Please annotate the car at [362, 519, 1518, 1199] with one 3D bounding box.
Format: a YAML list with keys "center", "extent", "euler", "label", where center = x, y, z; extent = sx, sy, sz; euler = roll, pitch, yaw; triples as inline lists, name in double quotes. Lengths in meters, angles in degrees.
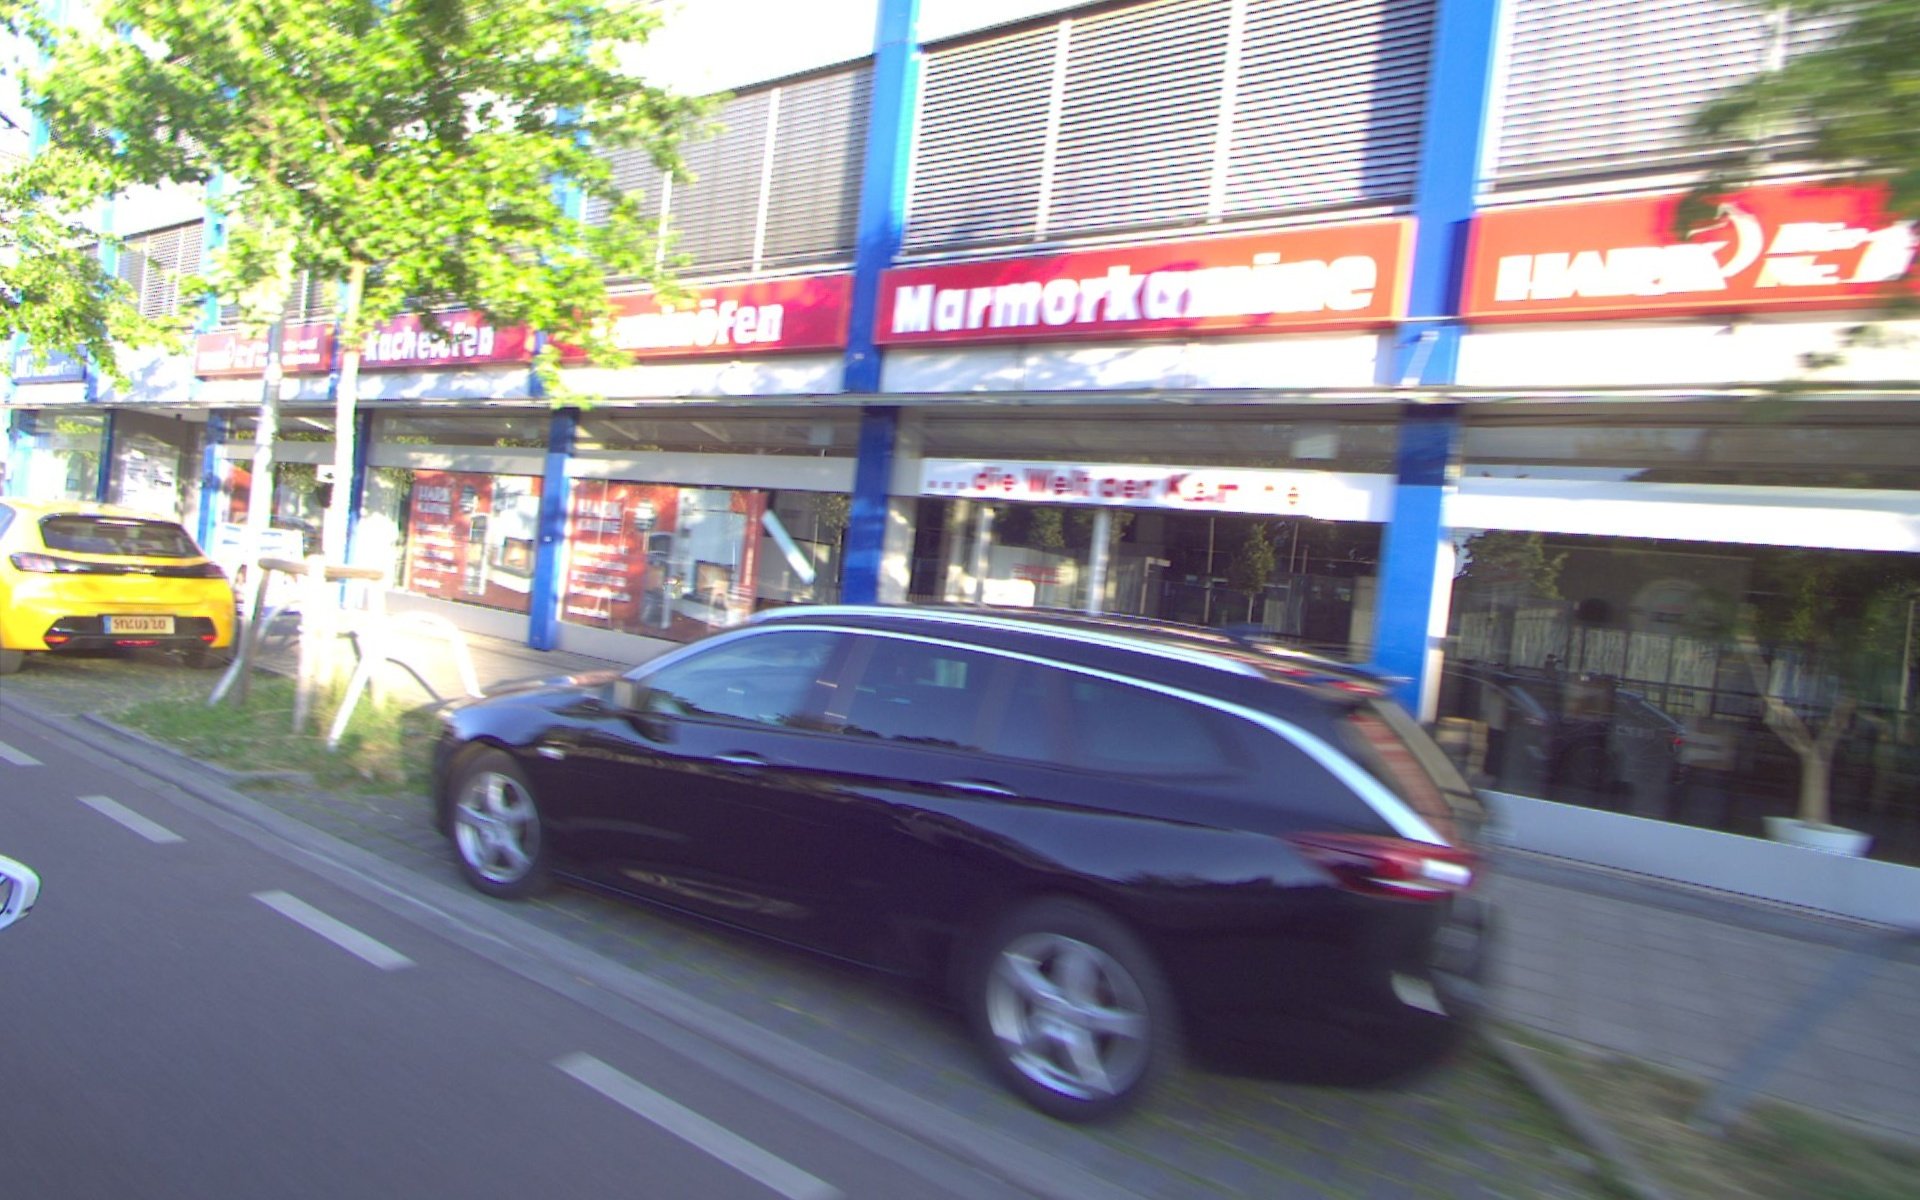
- center: [-0.350, 0.638, 4.412]
  extent: [4.729, 1.588, 1.819]
  euler: [7, 4, 30]
  label: "car"

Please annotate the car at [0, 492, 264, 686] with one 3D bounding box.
- center: [-8.591, -0.224, 9.503]
  extent: [4.060, 1.473, 1.685]
  euler: [6, 1, 30]
  label: "car"
